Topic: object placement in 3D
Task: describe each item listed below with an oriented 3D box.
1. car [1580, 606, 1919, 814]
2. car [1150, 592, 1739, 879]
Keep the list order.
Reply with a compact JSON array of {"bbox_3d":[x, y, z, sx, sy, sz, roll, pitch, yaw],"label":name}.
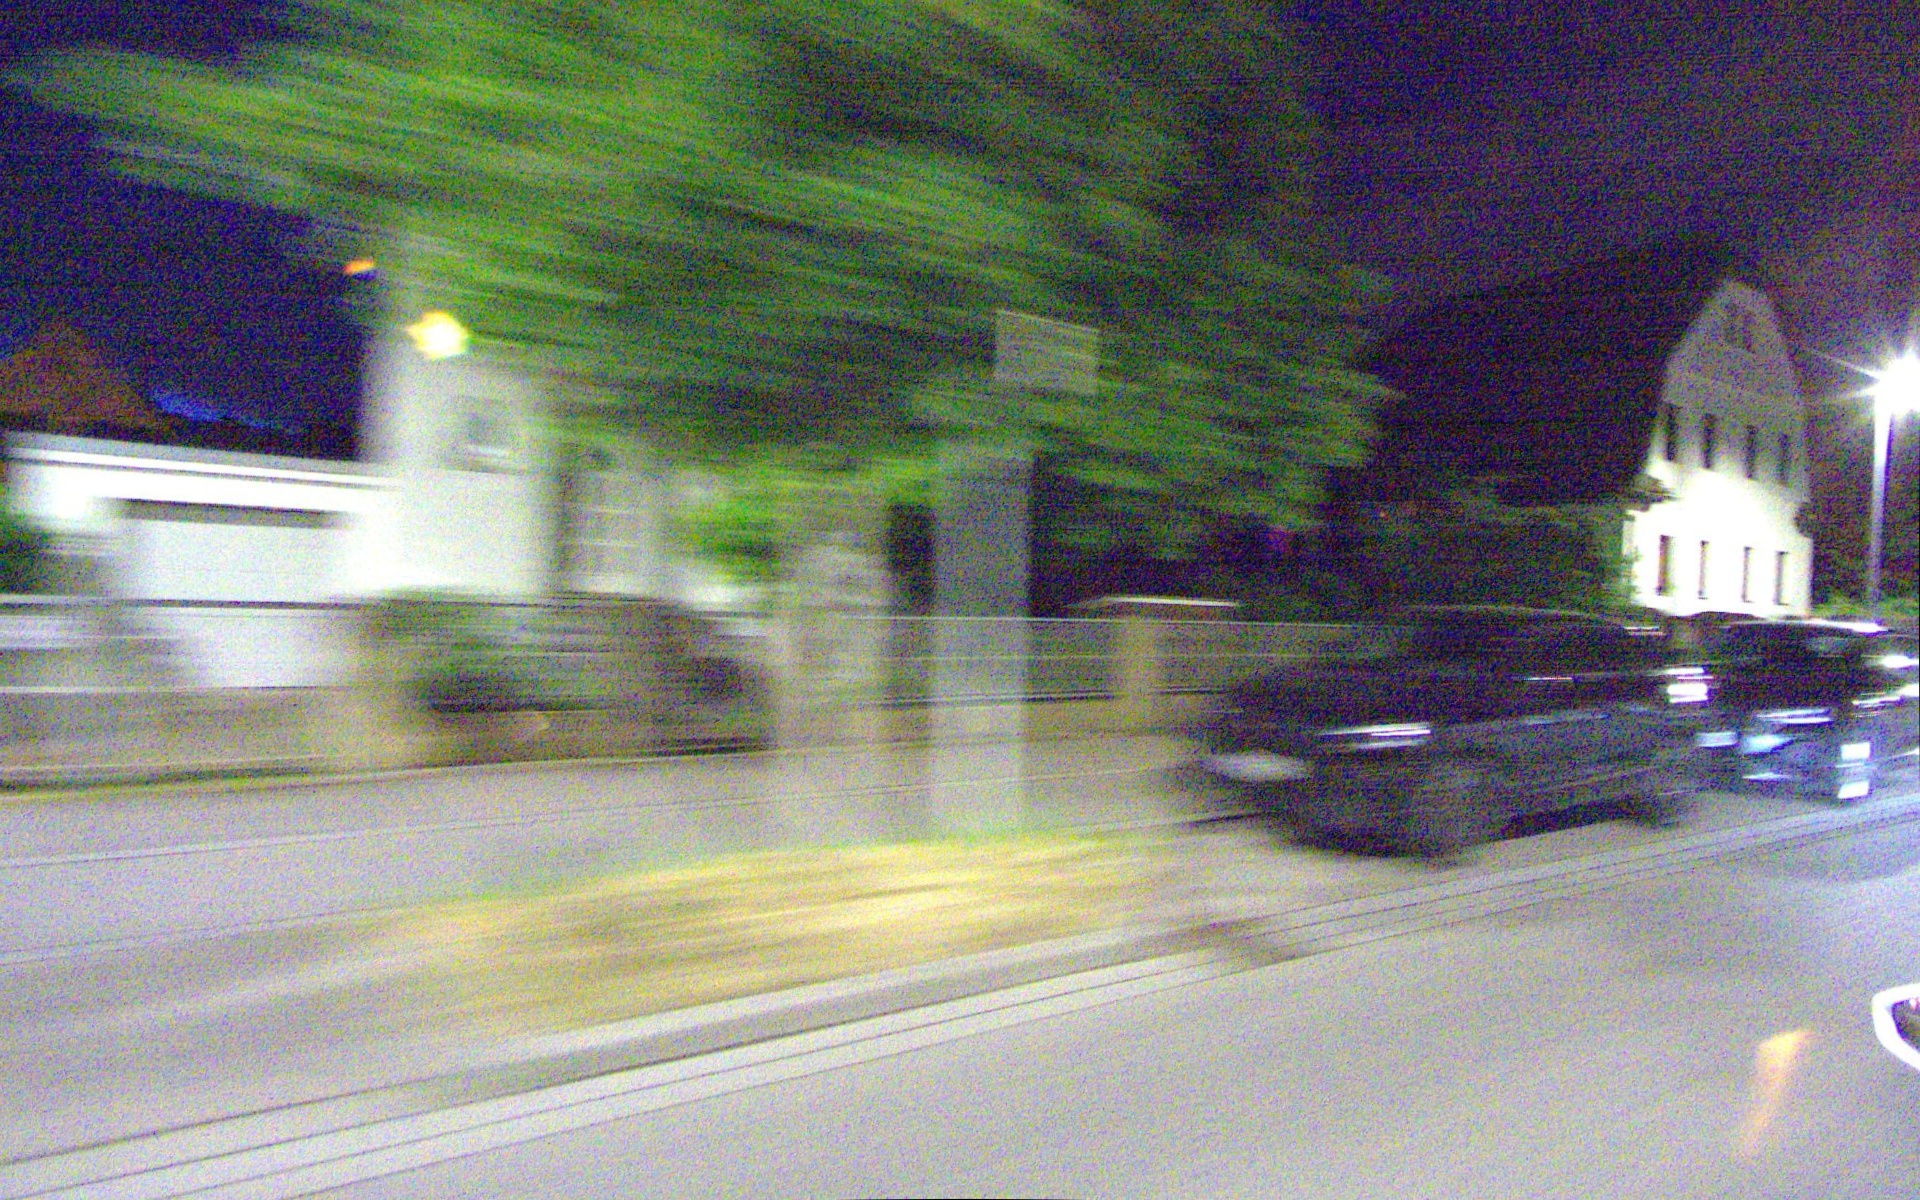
[{"bbox_3d":[7.984,0.899,9.556,4.229,1.539,1.757,2,1,-31],"label":"car"},{"bbox_3d":[3.547,0.768,7.160,4.228,1.530,1.680,2,0,-30],"label":"car"}]
